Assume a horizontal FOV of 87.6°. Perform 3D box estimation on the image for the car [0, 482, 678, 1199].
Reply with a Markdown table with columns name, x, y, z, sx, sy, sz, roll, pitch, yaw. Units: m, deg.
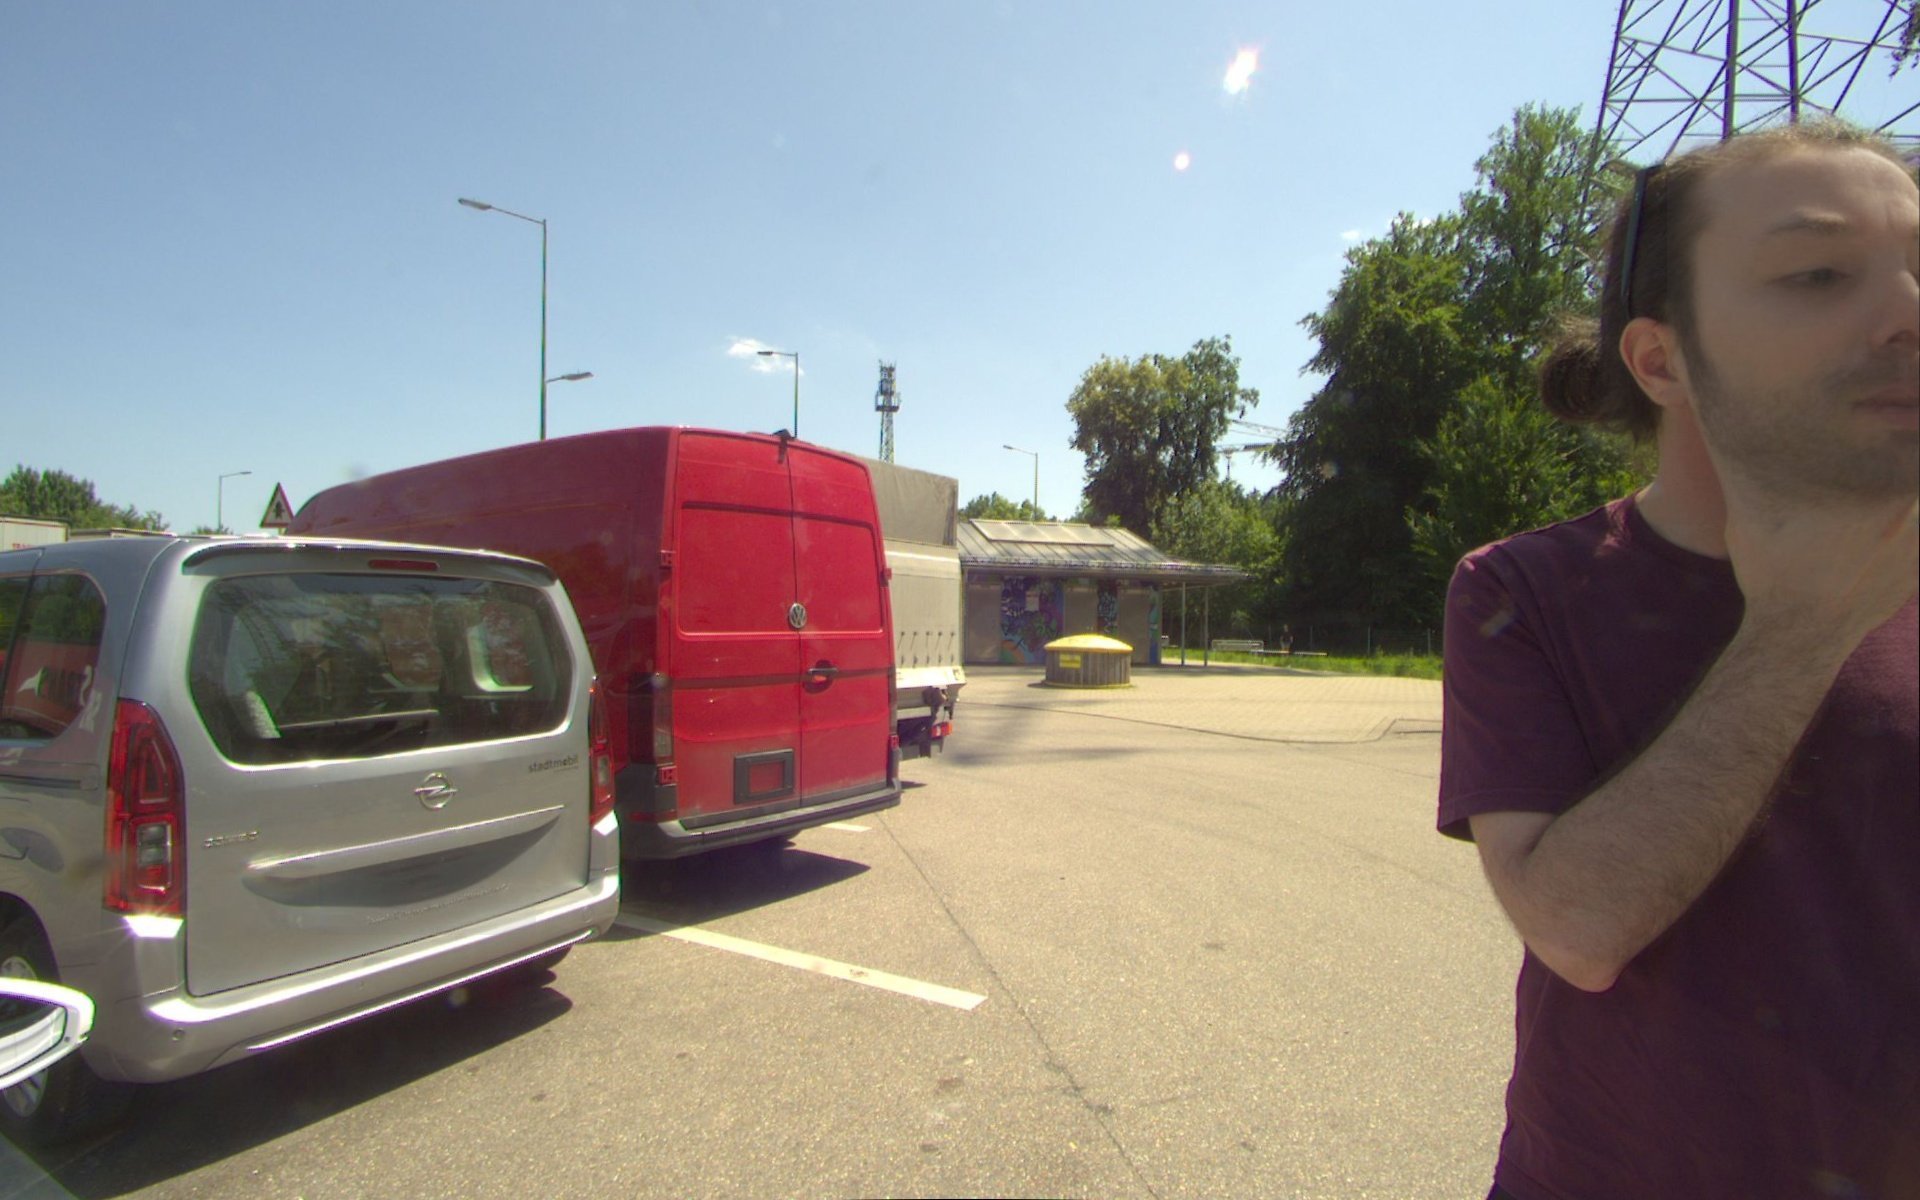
| name | x | y | z | sx | sy | sz | roll | pitch | yaw |
| --- | --- | --- | --- | --- | --- | --- | --- | --- | --- |
| car | -3.397 | 0.688 | 4.256 | 4.113 | 1.887 | 1.868 | 1 | -2 | 31 |

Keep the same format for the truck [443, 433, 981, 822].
| name | x | y | z | sx | sy | sz | roll | pitch | yaw |
| --- | --- | --- | --- | --- | --- | --- | --- | --- | --- |
| truck | -2.754 | 0.306 | 10.295 | 5.581 | 2.949 | 2.449 | -2 | -2 | 37 |

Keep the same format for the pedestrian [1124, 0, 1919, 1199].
| name | x | y | z | sx | sy | sz | roll | pitch | yaw |
| --- | --- | --- | --- | --- | --- | --- | --- | --- | --- |
| pedestrian | 0.745 | 0.509 | 0.910 | 0.850 | 1.857 | 0.859 | 0 | -1 | -23 |

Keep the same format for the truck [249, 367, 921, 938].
| name | x | y | z | sx | sy | sz | roll | pitch | yaw |
| --- | --- | --- | --- | --- | --- | --- | --- | --- | --- |
| truck | -2.904 | 0.338 | 7.056 | 5.238 | 2.655 | 1.972 | -2 | -2 | 38 |

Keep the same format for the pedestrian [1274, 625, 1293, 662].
| name | x | y | z | sx | sy | sz | roll | pitch | yaw |
| --- | --- | --- | --- | --- | --- | --- | --- | --- | --- |
| pedestrian | 14.819 | 1.980 | 45.882 | 0.723 | 1.658 | 0.792 | 0 | -1 | 9 |

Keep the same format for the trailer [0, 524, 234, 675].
| name | x | y | z | sx | sy | sz | roll | pitch | yaw |
| --- | --- | --- | --- | --- | --- | --- | --- | --- | --- |
| trailer | -27.971 | -0.105 | 31.792 | 14.184 | 4.040 | 2.808 | 2 | -2 | 33 |

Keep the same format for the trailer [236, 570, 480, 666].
| name | x | y | z | sx | sy | sz | roll | pitch | yaw |
| --- | --- | --- | --- | --- | --- | --- | --- | --- | --- |
| trailer | -26.119 | 0.642 | 42.907 | 14.184 | 3.552 | 2.808 | 2 | -2 | 33 |

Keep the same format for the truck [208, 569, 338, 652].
| name | x | y | z | sx | sy | sz | roll | pitch | yaw |
| --- | --- | --- | --- | --- | --- | --- | --- | --- | --- |
| truck | -32.115 | 0.462 | 46.764 | 5.813 | 3.566 | 2.799 | 2 | -2 | 32 |

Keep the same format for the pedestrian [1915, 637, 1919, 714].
| name | x | y | z | sx | sy | sz | roll | pitch | yaw |
| --- | --- | --- | --- | --- | --- | --- | --- | --- | --- |
| pedestrian | 17.241 | 1.325 | 17.488 | 0.690 | 1.352 | 0.561 | -1 | -1 | 33 |

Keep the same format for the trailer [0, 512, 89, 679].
| name | x | y | z | sx | sy | sz | roll | pitch | yaw |
| --- | --- | --- | --- | --- | --- | --- | --- | --- | --- |
| trailer | -29.035 | -0.263 | 28.145 | 14.184 | 4.040 | 2.808 | 2 | -2 | 33 |
